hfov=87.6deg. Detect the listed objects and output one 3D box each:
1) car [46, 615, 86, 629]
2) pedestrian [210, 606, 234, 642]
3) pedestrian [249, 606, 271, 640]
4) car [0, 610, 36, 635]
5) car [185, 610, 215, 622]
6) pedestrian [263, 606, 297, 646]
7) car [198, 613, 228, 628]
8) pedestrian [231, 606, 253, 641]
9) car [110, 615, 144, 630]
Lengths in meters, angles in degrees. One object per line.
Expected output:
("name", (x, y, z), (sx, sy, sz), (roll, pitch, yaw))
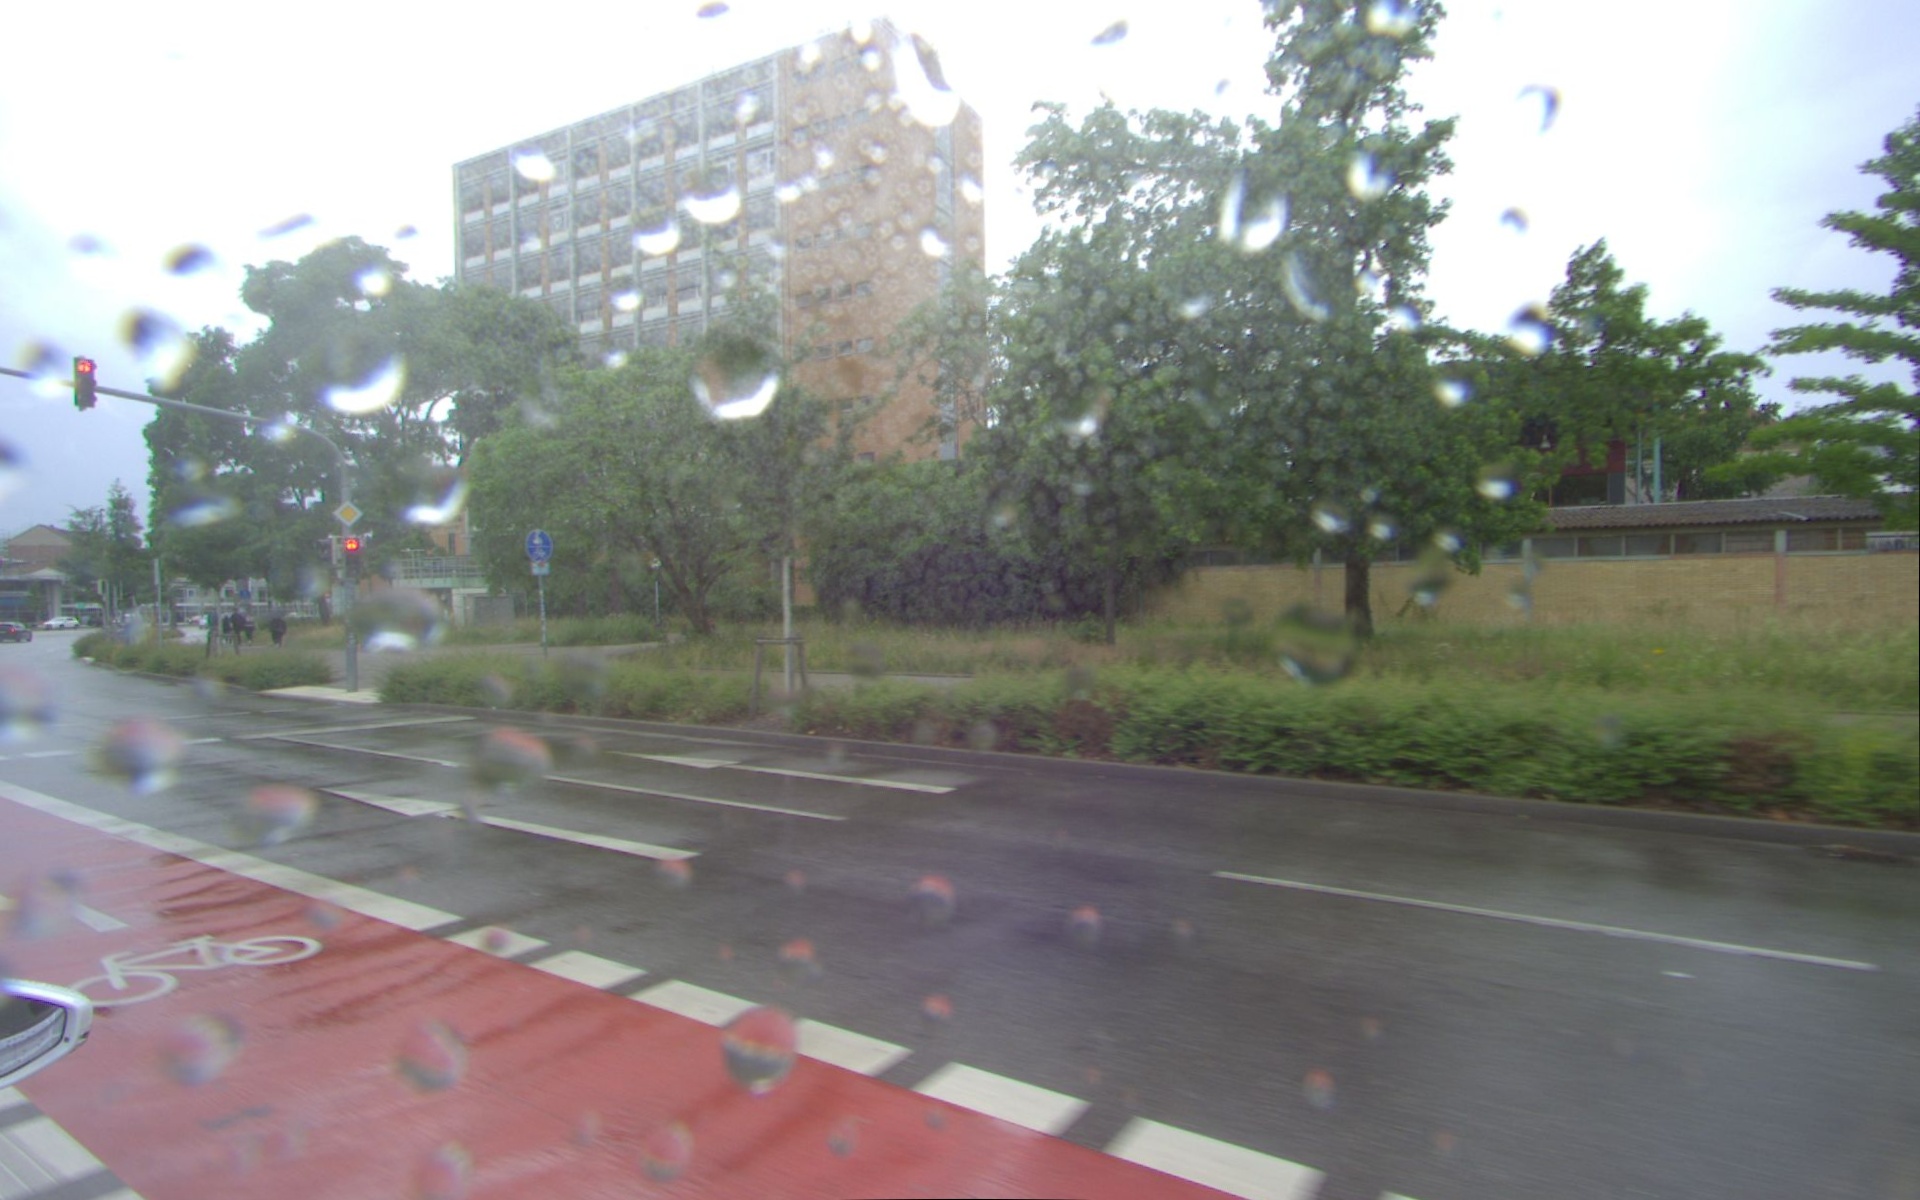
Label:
("car", (-111.641, 2.757, 125.145), (1.762, 1.665, 4.392), (0, 0, -12))
("pedestrian", (-33.957, 1.104, 46.061), (0.749, 1.609, 0.927), (-1, 1, -44))
("pedestrian", (-33.553, 1.093, 47.998), (0.698, 1.609, 0.927), (-1, 1, -44))
("car", (-67.960, 1.596, 71.823), (1.771, 1.665, 4.134), (-1, 0, -32))
("car", (-109.826, 2.239, 144.783), (1.762, 1.665, 4.043), (0, 0, -10))
("pedestrian", (-27.923, 1.063, 41.124), (1.016, 1.609, 0.927), (-1, 1, -44))
("car", (-84.180, 2.287, 112.816), (1.767, 1.665, 4.145), (-1, 0, -24))
("pedestrian", (-33.926, 1.098, 47.307), (0.698, 1.609, 0.927), (-1, 1, -44))
("car", (-109.314, 2.917, 131.436), (1.763, 1.883, 4.154), (-1, 0, -13))
